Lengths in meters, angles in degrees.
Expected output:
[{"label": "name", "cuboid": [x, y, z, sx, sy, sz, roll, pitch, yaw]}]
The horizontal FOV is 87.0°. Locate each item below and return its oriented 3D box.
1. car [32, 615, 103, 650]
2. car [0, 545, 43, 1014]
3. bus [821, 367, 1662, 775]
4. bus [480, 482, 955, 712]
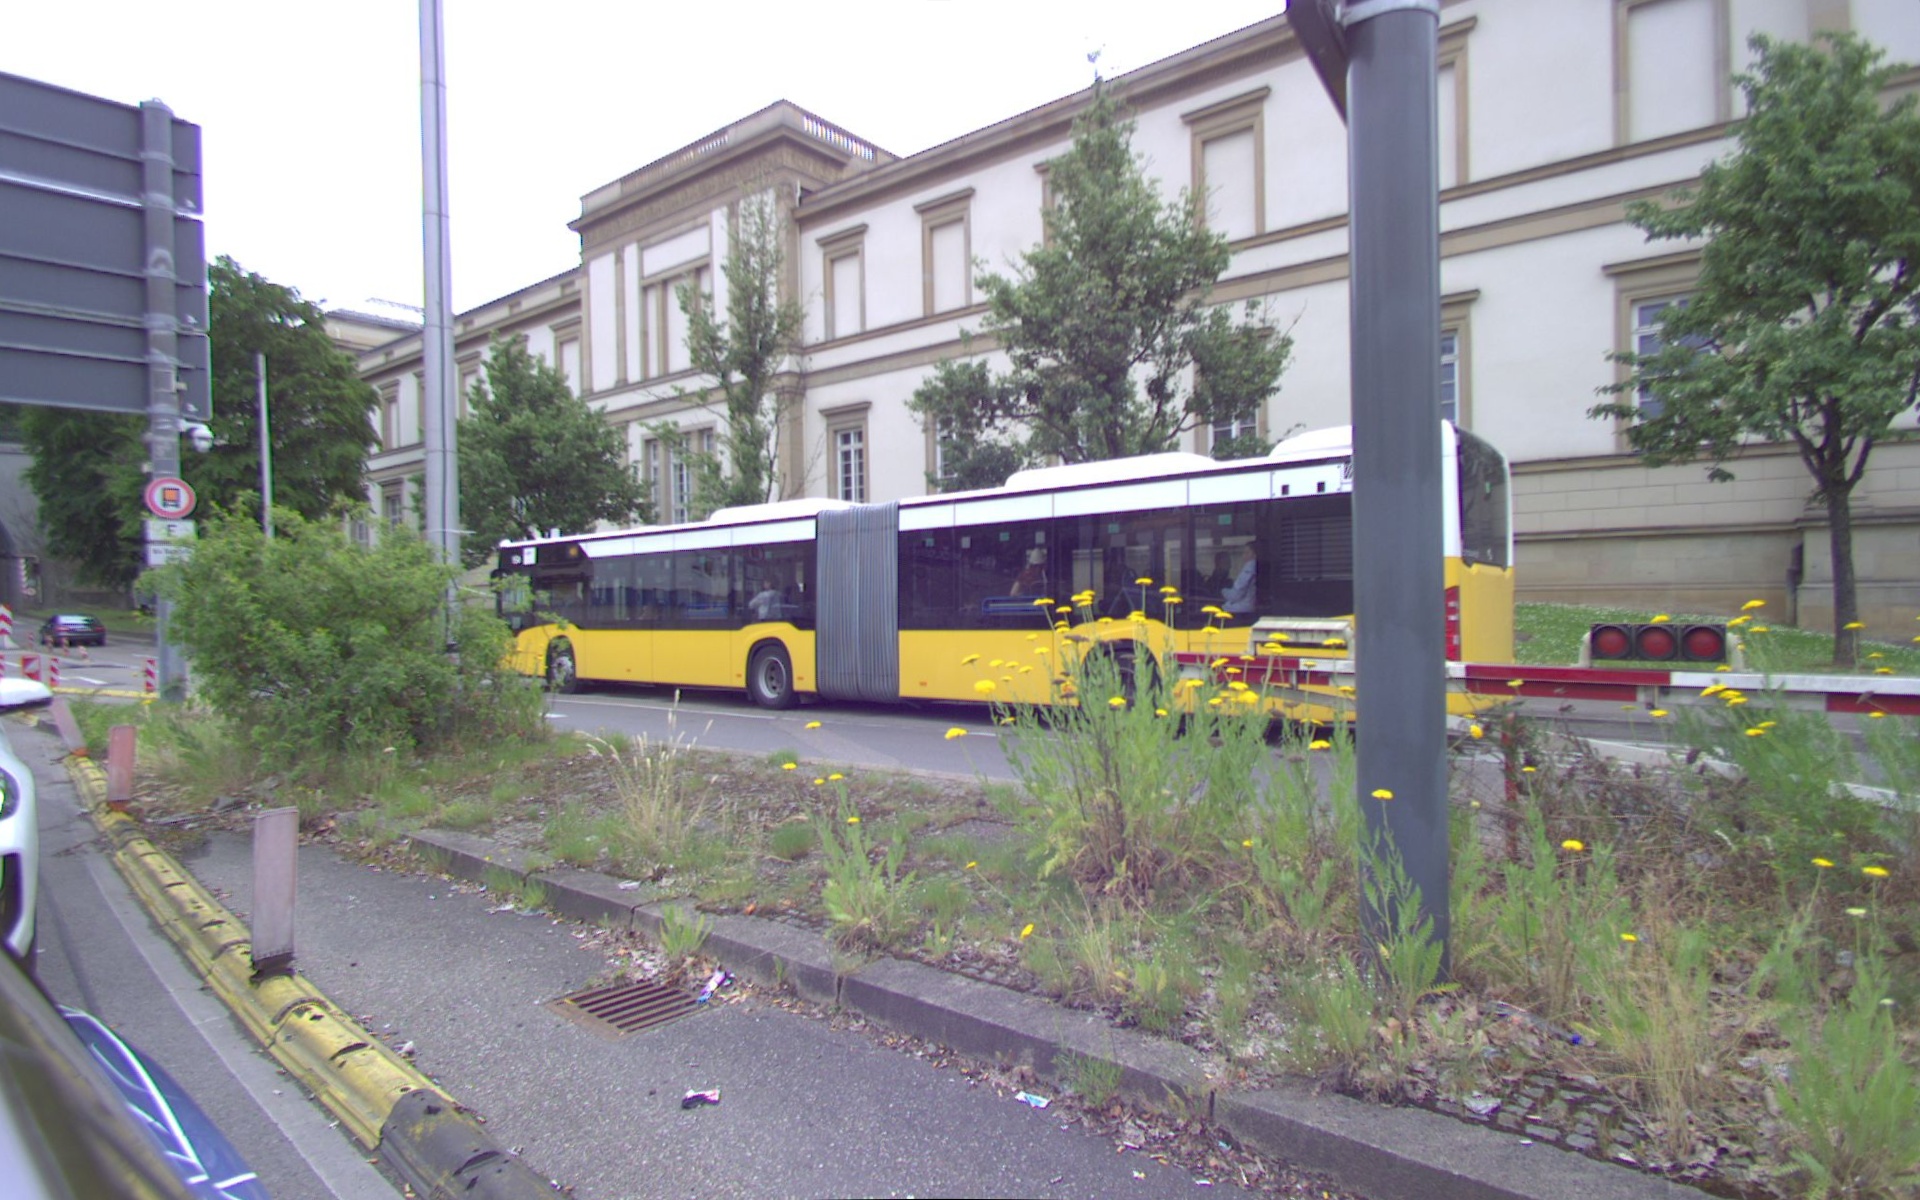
[{"label": "car", "cuboid": [-40.174, 1.440, 45.525, 4.625, 1.482, 1.684, -1, 0, 40]}, {"label": "car", "cuboid": [-5.264, 0.667, 4.170, 3.881, 1.603, 1.824, -2, 0, 42]}, {"label": "bus", "cuboid": [2.501, -0.165, 11.836, 9.116, 3.137, 2.816, -1, 0, 41]}, {"label": "bus", "cuboid": [-4.760, 0.027, 17.964, 9.737, 3.137, 2.818, -1, 0, 39]}]
